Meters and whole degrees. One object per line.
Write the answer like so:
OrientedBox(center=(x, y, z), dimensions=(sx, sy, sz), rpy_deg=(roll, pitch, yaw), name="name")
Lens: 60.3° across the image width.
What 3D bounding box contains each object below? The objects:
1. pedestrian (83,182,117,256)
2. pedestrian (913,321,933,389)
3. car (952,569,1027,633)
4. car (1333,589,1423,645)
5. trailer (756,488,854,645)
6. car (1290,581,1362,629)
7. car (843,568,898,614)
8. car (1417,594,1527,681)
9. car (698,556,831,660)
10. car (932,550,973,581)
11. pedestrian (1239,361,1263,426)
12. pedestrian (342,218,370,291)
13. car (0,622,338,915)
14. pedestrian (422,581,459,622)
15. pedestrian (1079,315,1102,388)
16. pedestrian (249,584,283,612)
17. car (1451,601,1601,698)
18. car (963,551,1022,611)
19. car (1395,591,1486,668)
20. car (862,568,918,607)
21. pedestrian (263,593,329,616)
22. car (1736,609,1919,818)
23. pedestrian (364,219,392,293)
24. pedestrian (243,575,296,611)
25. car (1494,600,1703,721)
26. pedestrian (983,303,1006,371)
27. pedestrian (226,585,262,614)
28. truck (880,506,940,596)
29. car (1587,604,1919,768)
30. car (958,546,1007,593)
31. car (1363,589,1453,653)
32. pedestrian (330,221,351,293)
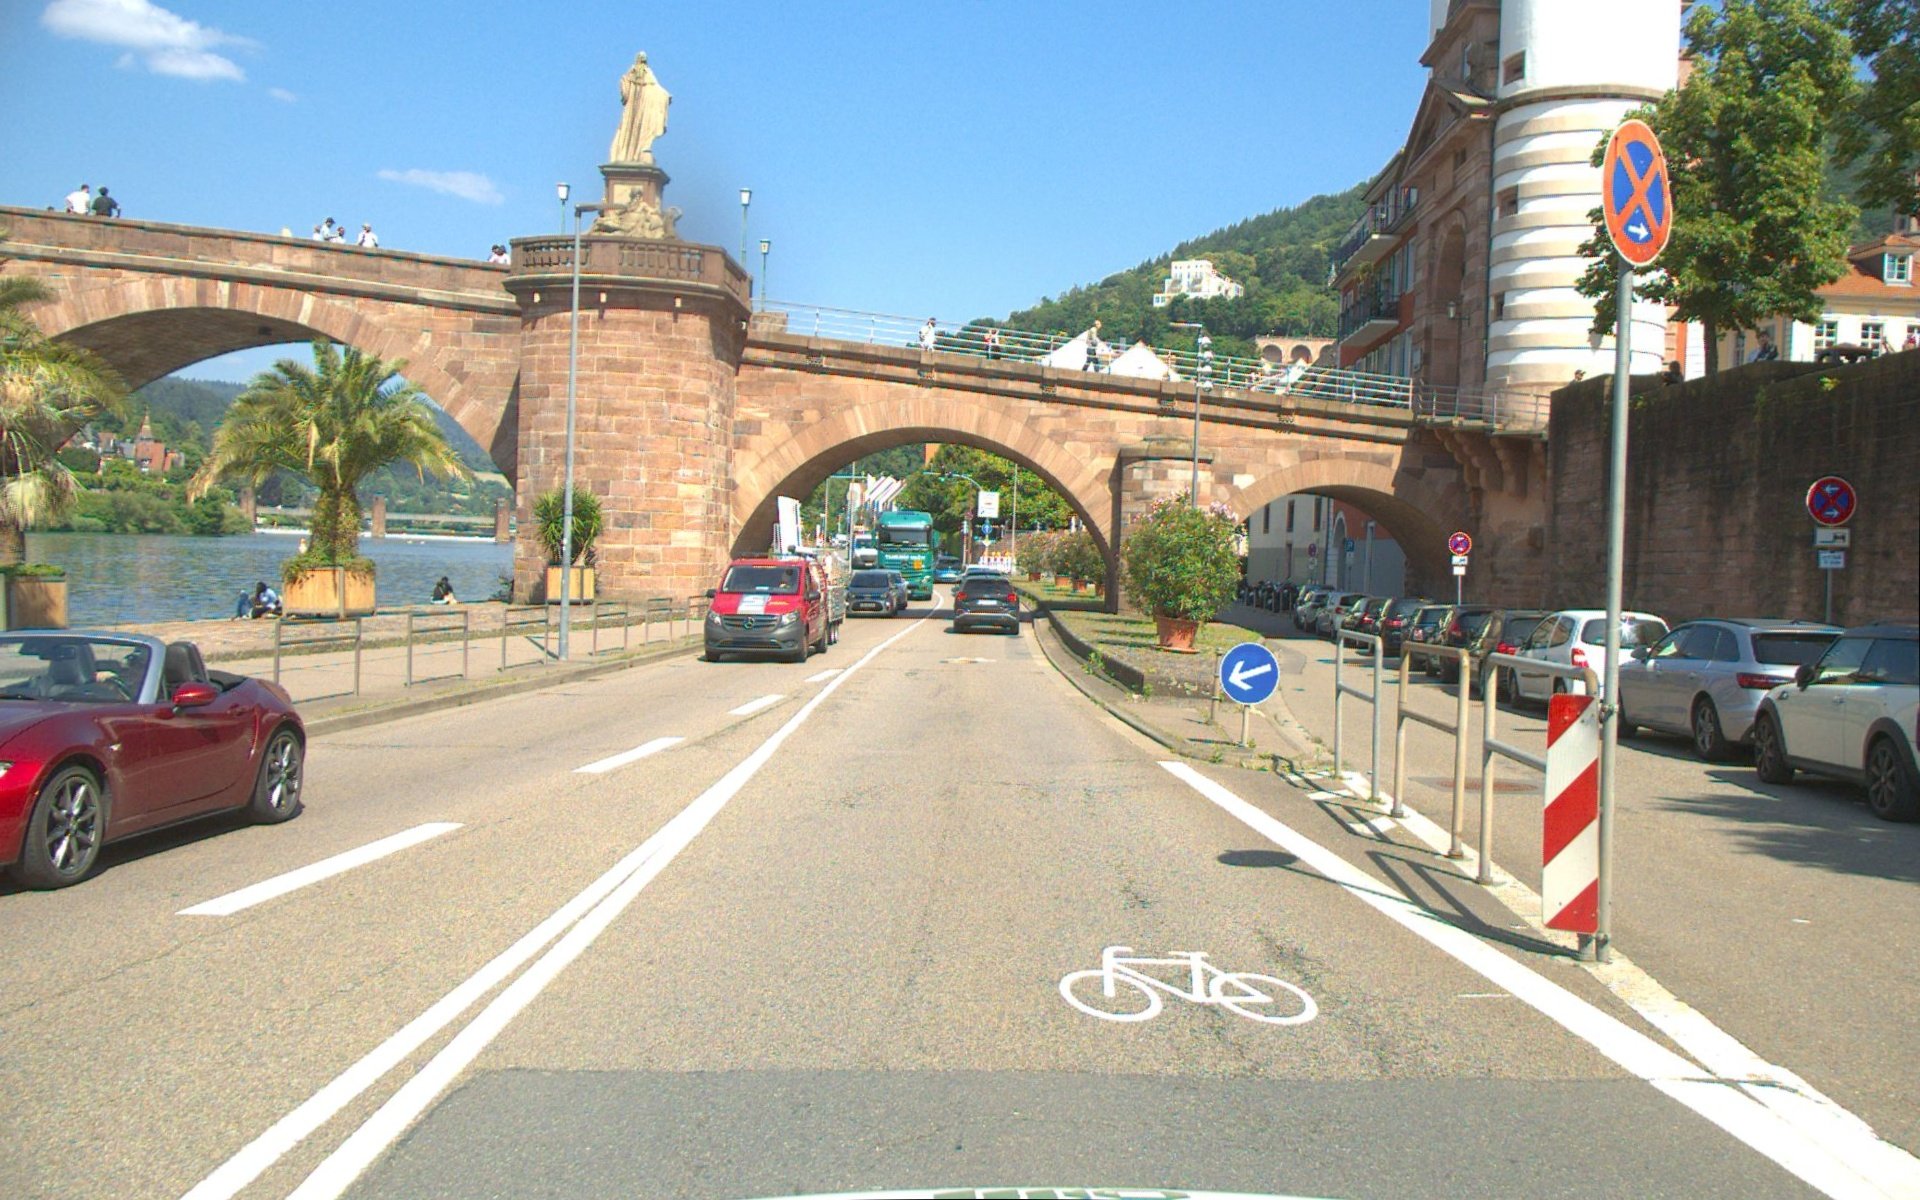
OrientedBox(center=(-25.639, -11.364, 49.330), dimensions=(0.679, 2.049, 0.625), rpy_deg=(1, 1, -2), name="pedestrian")
OrientedBox(center=(-1.159, -7.699, 51.996), dimensions=(0.569, 2.049, 0.586), rpy_deg=(1, 1, 2), name="pedestrian")
OrientedBox(center=(0.844, -0.018, 44.824), dimensions=(1.818, 1.550, 4.003), rpy_deg=(1, 2, 4), name="car")
OrientedBox(center=(12.194, 0.455, 48.458), dimensions=(1.738, 1.461, 4.495), rpy_deg=(2, 1, 4), name="car")
OrientedBox(center=(-3.428, -0.749, 37.118), dimensions=(1.705, 3.378, 3.385), rpy_deg=(0, 1, 3), name="trailer")
OrientedBox(center=(12.822, 0.134, 58.188), dimensions=(1.853, 1.518, 4.419), rpy_deg=(1, 2, 4), name="car")
OrientedBox(center=(-2.923, -0.312, 54.802), dimensions=(1.503, 1.461, 3.729), rpy_deg=(0, 1, 2), name="car")
OrientedBox(center=(9.894, 0.681, 32.190), dimensions=(1.463, 1.510, 3.719), rpy_deg=(2, 1, 9), name="car")
OrientedBox(center=(-3.684, 0.082, 31.947), dimensions=(1.835, 1.859, 4.546), rpy_deg=(0, 1, 2), name="car")
OrientedBox(center=(-0.468, -1.977, 95.608), dimensions=(1.955, 1.691, 3.995), rpy_deg=(2, 1, -6), name="car")
OrientedBox(center=(9.541, -6.768, 54.245), dimensions=(0.670, 2.049, 0.586), rpy_deg=(1, 1, 2), name="pedestrian")
OrientedBox(center=(-18.175, -10.387, 49.792), dimensions=(0.611, 2.049, 0.694), rpy_deg=(1, 1, -6), name="pedestrian")
OrientedBox(center=(-5.019, 0.773, 9.201), dimensions=(1.636, 1.215, 3.630), rpy_deg=(0, 1, 2), name="car")
OrientedBox(center=(-16.524, 0.048, 52.635), dimensions=(0.711, 1.262, 1.146), rpy_deg=(2, 1, 5), name="pedestrian")
OrientedBox(center=(3.873, -7.357, 49.014), dimensions=(0.610, 2.049, 0.695), rpy_deg=(1, 1, 2), name="pedestrian")
OrientedBox(center=(-14.959, -0.045, 35.663), dimensions=(0.453, 0.574, 0.515), rpy_deg=(-2, 0, 11), name="pedestrian")
OrientedBox(center=(9.293, 0.755, 27.454), dimensions=(1.674, 1.412, 4.411), rpy_deg=(0, 0, 10), name="car")
OrientedBox(center=(1.190, -0.705, 59.717), dimensions=(1.952, 2.049, 4.002), rpy_deg=(1, 1, 3), name="car")
OrientedBox(center=(10.667, 0.607, 36.911), dimensions=(1.557, 1.547, 3.907), rpy_deg=(2, 1, 11), name="car")
OrientedBox(center=(-2.648, -0.490, 63.158), dimensions=(1.687, 1.462, 4.402), rpy_deg=(0, 1, 3), name="car")
OrientedBox(center=(-13.913, 0.084, 34.701), dimensions=(0.631, 0.429, 1.743), rpy_deg=(0, 1, 2), name="pedestrian")
OrientedBox(center=(7.887, 0.849, 13.554), dimensions=(1.578, 1.438, 3.906), rpy_deg=(2, 1, 7), name="car")
OrientedBox(center=(-17.581, -10.379, 49.948), dimensions=(0.611, 2.049, 0.694), rpy_deg=(1, 1, -6), name="pedestrian")
OrientedBox(center=(-15.009, -0.159, 35.959), dimensions=(0.770, 0.755, 0.711), rpy_deg=(2, 1, 11), name="pedestrian")
OrientedBox(center=(8.896, 0.781, 23.342), dimensions=(1.675, 1.483, 3.549), rpy_deg=(2, 1, 3), name="car")
OrientedBox(center=(1.093, -8.285, 52.212), dimensions=(0.670, 2.049, 0.586), rpy_deg=(1, 1, 2), name="pedestrian")
OrientedBox(center=(-14.888, -0.004, 34.416), dimensions=(0.453, 0.574, 0.515), rpy_deg=(-2, 0, 11), name="pedestrian")
OrientedBox(center=(-2.163, -2.214, 73.433), dimensions=(2.472, 3.813, 6.247), rpy_deg=(0, 2, 0), name="truck")
OrientedBox(center=(8.586, 0.836, 18.325), dimensions=(1.717, 1.457, 4.759), rpy_deg=(2, 1, 4), name="car")
OrientedBox(center=(1.006, -1.405, 76.348), dimensions=(1.954, 2.049, 3.998), rpy_deg=(1, 1, -3), name="car")
OrientedBox(center=(11.660, 0.513, 43.251), dimensions=(1.738, 1.528, 3.990), rpy_deg=(1, 1, 8), name="car")
OrientedBox(center=(-18.837, -10.424, 50.315), dimensions=(0.449, 2.049, 0.554), rpy_deg=(1, 1, -5), name="pedestrian")
